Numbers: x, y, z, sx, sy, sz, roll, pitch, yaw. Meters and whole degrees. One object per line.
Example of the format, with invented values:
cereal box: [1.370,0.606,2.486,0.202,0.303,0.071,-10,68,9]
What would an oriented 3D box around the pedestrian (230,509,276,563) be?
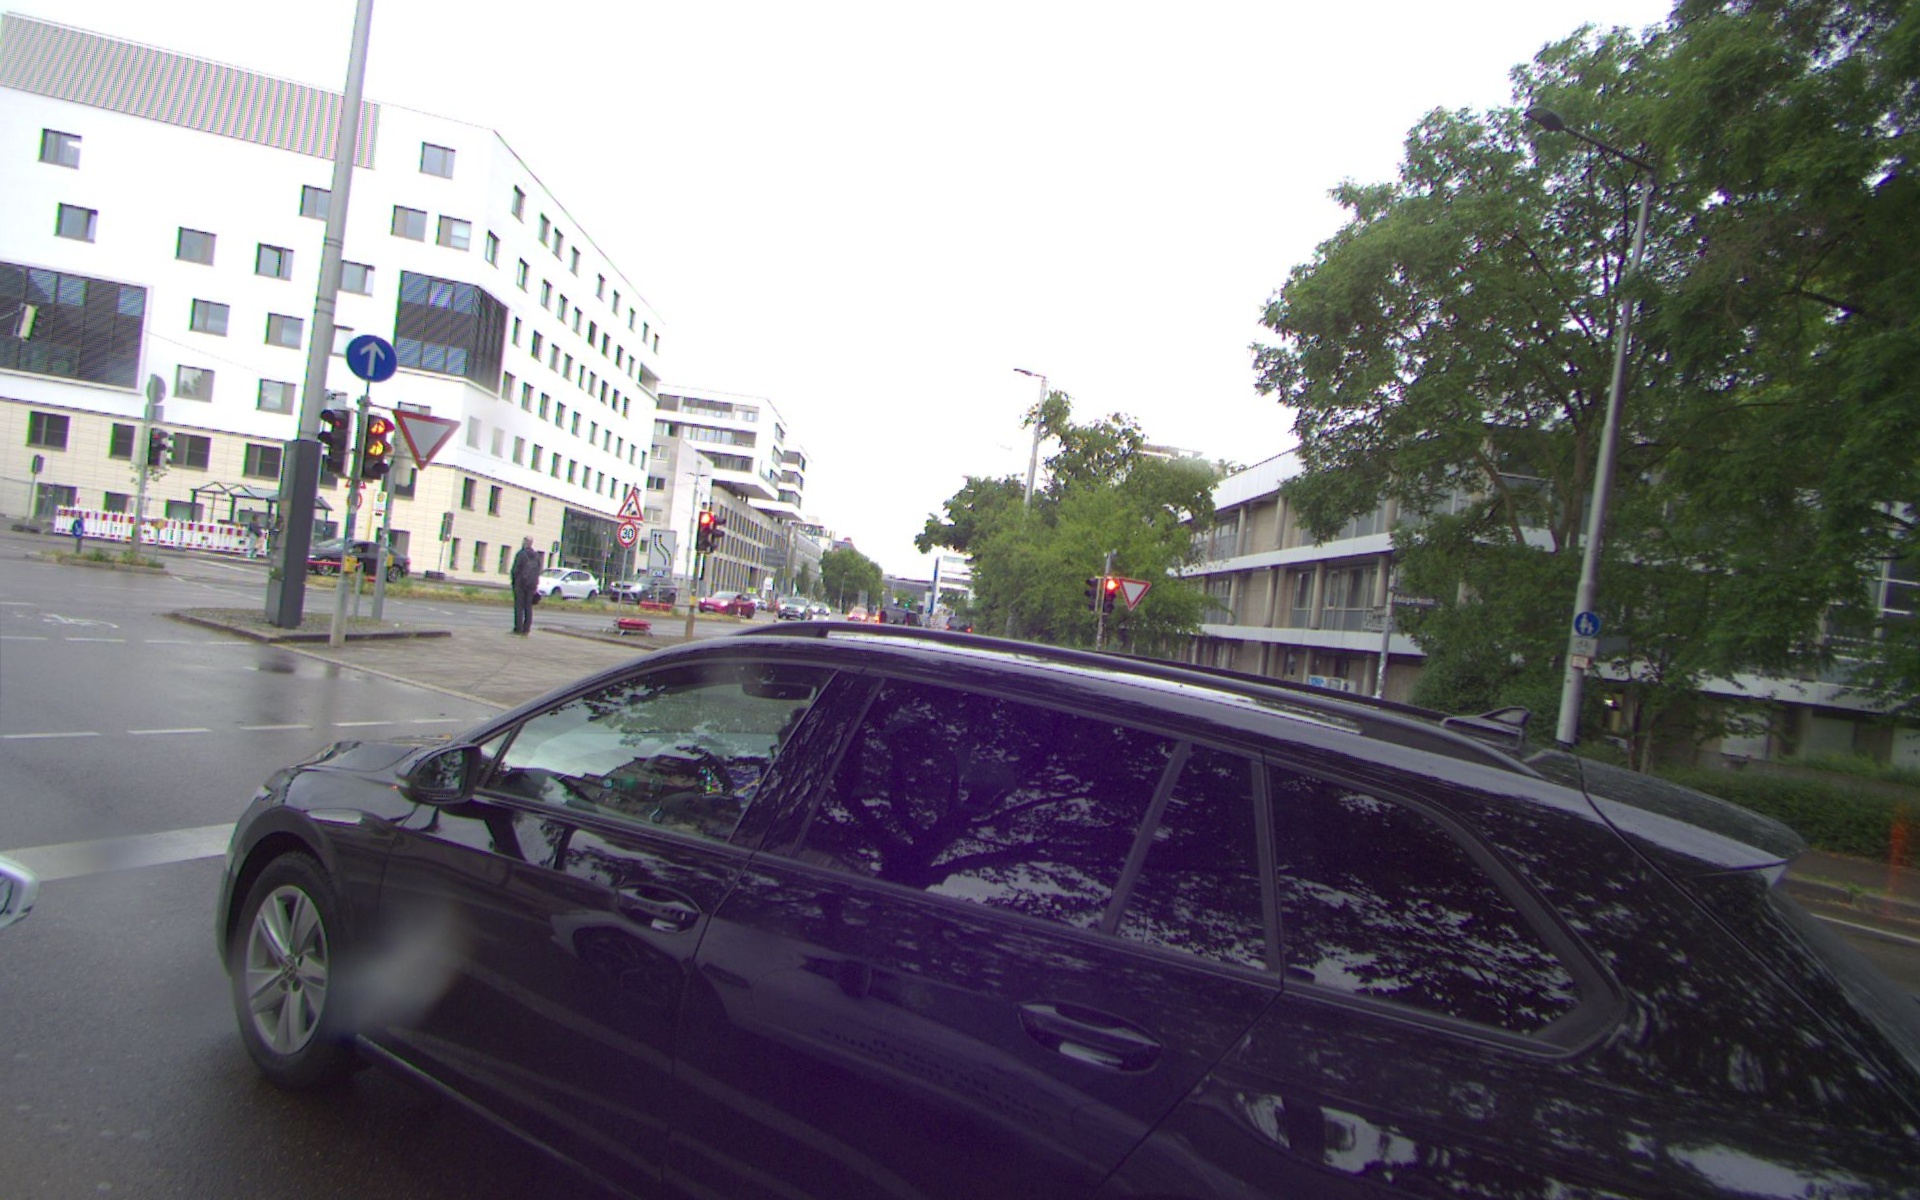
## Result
pedestrian: [-26.866,-2.437,38.232,0.808,1.861,0.955,6,-2,20]

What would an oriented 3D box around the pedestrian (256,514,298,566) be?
pedestrian: [-27.620,-2.430,40.680,0.941,1.957,1.001,5,-2,41]

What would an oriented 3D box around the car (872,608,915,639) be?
car: [-4.381,1.584,67.261,1.764,1.726,4.692,8,-1,8]

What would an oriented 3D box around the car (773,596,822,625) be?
car: [-11.652,0.771,72.366,1.929,1.554,4.166,8,-2,12]

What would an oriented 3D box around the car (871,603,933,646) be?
car: [-3.039,1.344,53.432,1.764,1.930,4.312,8,-1,15]

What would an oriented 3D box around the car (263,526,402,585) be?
car: [-22.836,-1.572,36.807,1.764,1.460,4.006,8,-3,17]

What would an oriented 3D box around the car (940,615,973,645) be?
car: [-0.201,2.198,73.374,1.963,1.829,4.791,8,-2,3]

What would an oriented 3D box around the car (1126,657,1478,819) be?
car: [4.671,1.870,14.344,1.853,1.467,4.359,9,-2,-37]

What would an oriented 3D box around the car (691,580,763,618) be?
car: [-13.351,-0.044,58.001,1.930,1.574,4.536,8,-3,16]

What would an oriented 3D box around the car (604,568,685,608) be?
car: [-17.169,-0.618,54.997,1.962,1.684,4.391,8,-1,16]

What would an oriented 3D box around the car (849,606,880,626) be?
car: [-8.703,1.491,92.007,1.930,1.466,4.165,8,-2,5]

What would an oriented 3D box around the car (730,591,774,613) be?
car: [-20.578,0.187,99.398,4.003,1.575,1.962,7,-3,38]

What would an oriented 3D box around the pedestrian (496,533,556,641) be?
pedestrian: [-8.330,-0.240,19.333,0.819,1.913,1.022,8,-2,-23]

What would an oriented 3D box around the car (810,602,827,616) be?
car: [-17.632,1.160,125.421,1.934,1.466,4.156,9,-2,-8]

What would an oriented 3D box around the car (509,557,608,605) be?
car: [-17.476,-0.793,43.995,1.764,1.460,4.006,8,-3,17]

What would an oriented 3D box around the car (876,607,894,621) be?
car: [-10.447,1.972,139.302,1.837,1.669,4.772,7,-3,-10]

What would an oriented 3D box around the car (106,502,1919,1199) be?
car: [-0.238,0.772,2.711,4.436,1.483,1.673,8,-1,30]

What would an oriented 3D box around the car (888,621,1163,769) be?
car: [0.771,1.269,14.393,1.850,1.466,3.967,9,-2,-31]
